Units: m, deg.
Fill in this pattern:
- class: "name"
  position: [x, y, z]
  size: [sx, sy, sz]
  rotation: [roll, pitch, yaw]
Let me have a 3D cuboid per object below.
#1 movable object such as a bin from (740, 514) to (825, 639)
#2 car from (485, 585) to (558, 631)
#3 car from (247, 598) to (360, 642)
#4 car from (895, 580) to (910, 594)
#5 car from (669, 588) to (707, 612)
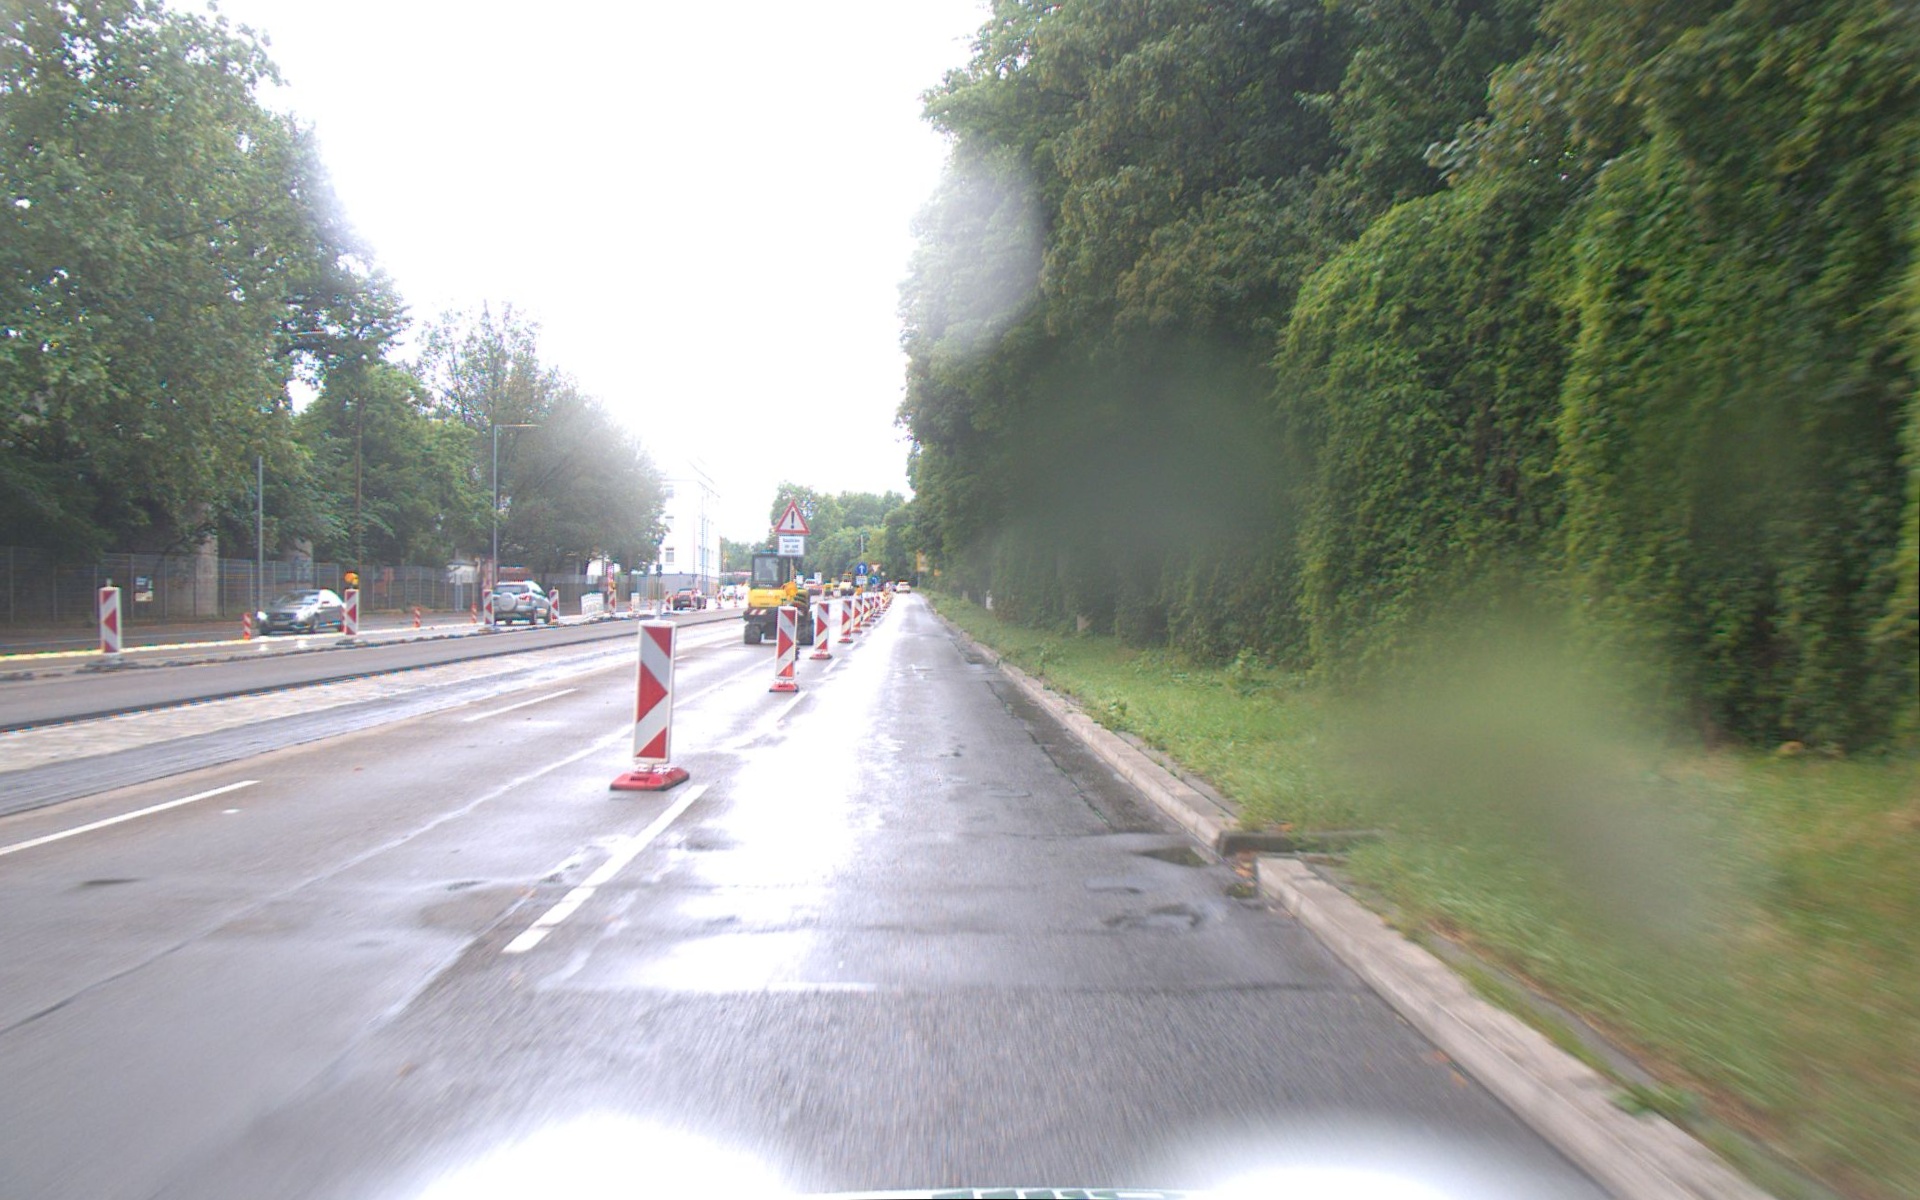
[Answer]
- class: "movable object such as a bin"
  position: [-5.129, -0.673, 48.572]
  size: [1.953, 3.426, 5.980]
  rotation: [1, 0, -2]
- class: "car"
  position: [-16.646, 0.289, 62.948]
  size: [1.817, 1.677, 3.999]
  rotation: [1, 0, -2]
- class: "car"
  position: [-21.833, 0.639, 55.228]
  size: [1.953, 1.371, 4.789]
  rotation: [1, 0, -2]
- class: "car"
  position: [-7.668, -1.746, 221.924]
  size: [1.953, 1.702, 3.999]
  rotation: [1, 0, -2]
- class: "car"
  position: [-18.150, -0.001, 110.448]
  size: [1.953, 1.545, 3.998]
  rotation: [1, 0, -2]
